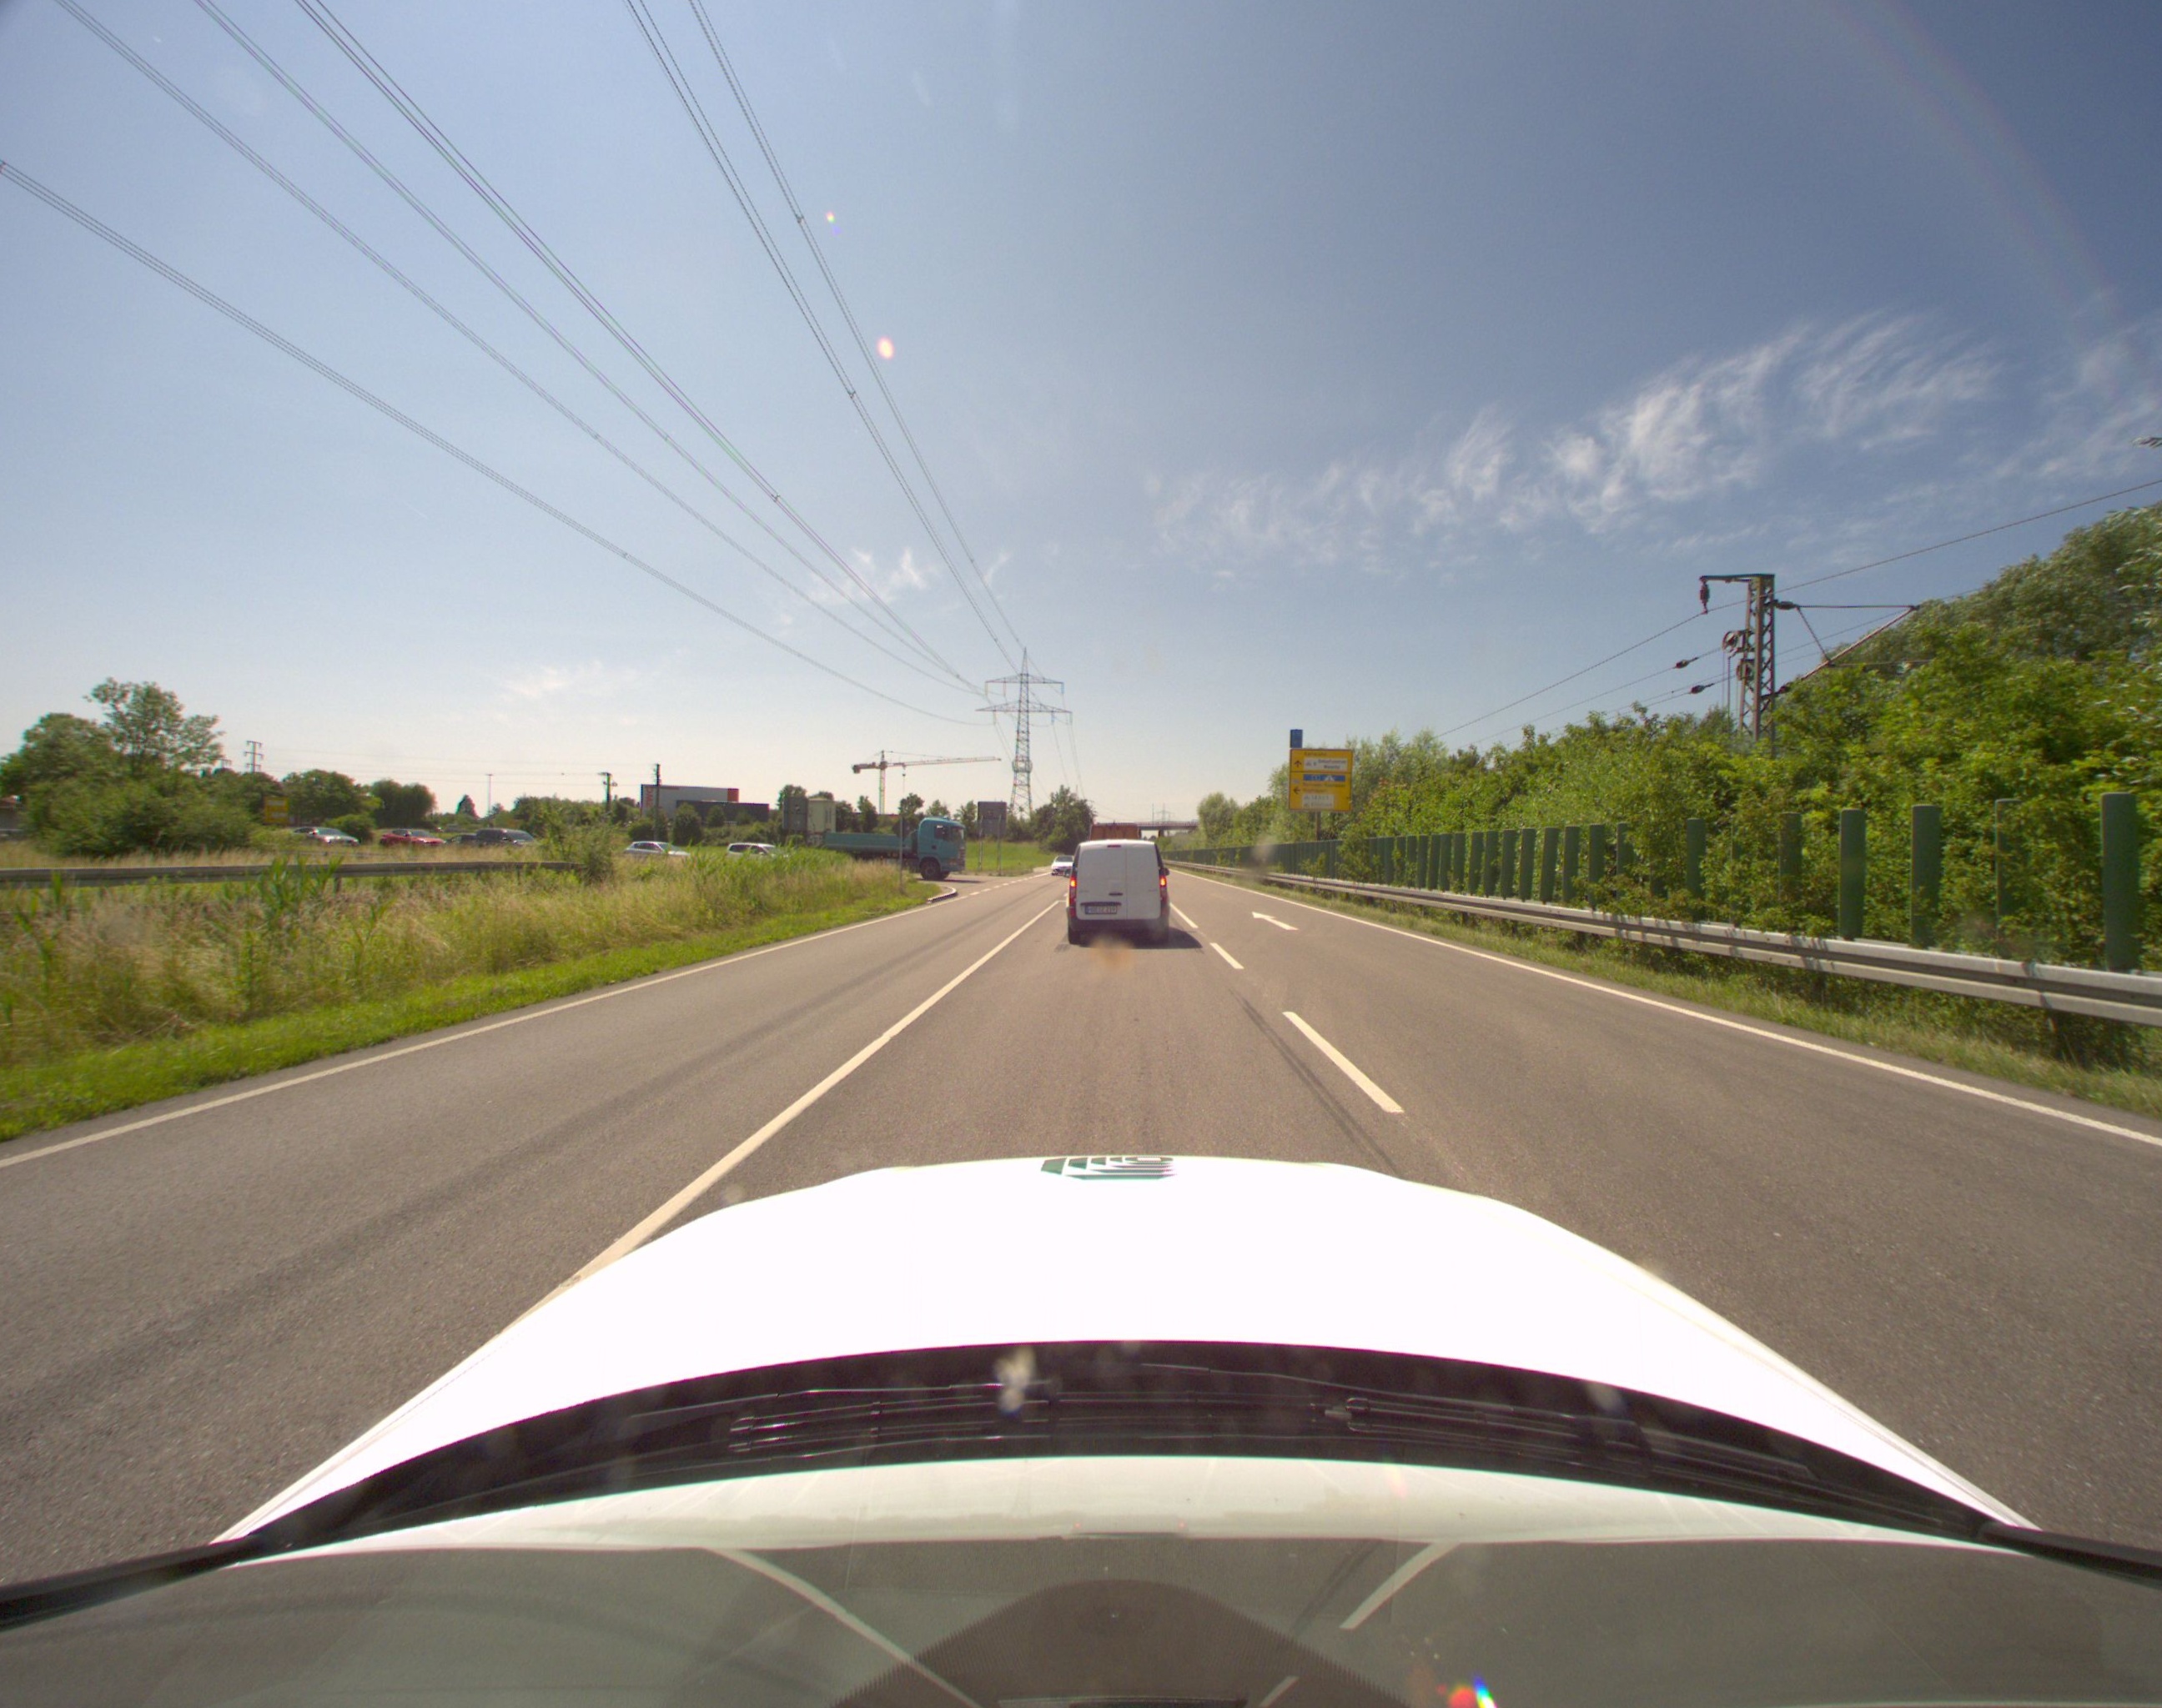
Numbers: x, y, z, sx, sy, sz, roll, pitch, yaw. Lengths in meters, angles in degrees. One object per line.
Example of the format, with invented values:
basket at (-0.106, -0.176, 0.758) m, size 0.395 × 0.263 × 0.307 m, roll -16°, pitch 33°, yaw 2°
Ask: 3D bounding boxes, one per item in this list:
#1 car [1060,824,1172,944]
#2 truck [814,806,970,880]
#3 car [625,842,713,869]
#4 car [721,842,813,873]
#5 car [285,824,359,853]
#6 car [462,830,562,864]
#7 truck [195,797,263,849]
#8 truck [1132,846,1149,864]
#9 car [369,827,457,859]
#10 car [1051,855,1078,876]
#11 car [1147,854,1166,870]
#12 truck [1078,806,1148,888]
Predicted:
car at (0.662, 0.498, 15.416) m, size 1.820 × 1.971 × 4.002 m, roll -1°, pitch 0°, yaw 2°
truck at (-10.406, -0.610, 45.225) m, size 7.867 × 3.734 × 2.501 m, roll 2°, pitch 0°, yaw 5°
car at (-23.736, 0.080, 46.977) m, size 4.401 × 1.470 × 1.724 m, roll 1°, pitch 0°, yaw 13°
car at (-17.661, 0.197, 45.871) m, size 4.506 × 1.612 × 1.977 m, roll 1°, pitch 0°, yaw 17°
car at (-50.461, -1.012, 54.152) m, size 3.959 × 1.901 × 1.665 m, roll 0°, pitch 0°, yaw 13°
car at (-34.304, -0.461, 49.159) m, size 4.905 × 1.867 × 2.095 m, roll 2°, pitch 1°, yaw 11°
truck at (-83.346, -2.879, 79.559) m, size 13.071 × 4.646 × 3.713 m, roll 1°, pitch 0°, yaw 40°
truck at (8.907, 0.142, 122.094) m, size 2.365 × 2.689 × 8.014 m, roll 1°, pitch 0°, yaw 2°
car at (-42.084, -0.688, 51.332) m, size 4.437 × 1.849 × 1.923 m, roll 1°, pitch 0°, yaw 14°
car at (-1.192, 0.808, 60.556) m, size 1.718 × 1.441 × 4.252 m, roll 1°, pitch 0°, yaw 3°
car at (7.968, 0.835, 86.250) m, size 1.841 × 1.574 × 4.003 m, roll -1°, pitch 0°, yaw 3°
truck at (1.548, -0.334, 37.394) m, size 2.808 × 3.288 × 9.709 m, roll 0°, pitch 1°, yaw 3°
